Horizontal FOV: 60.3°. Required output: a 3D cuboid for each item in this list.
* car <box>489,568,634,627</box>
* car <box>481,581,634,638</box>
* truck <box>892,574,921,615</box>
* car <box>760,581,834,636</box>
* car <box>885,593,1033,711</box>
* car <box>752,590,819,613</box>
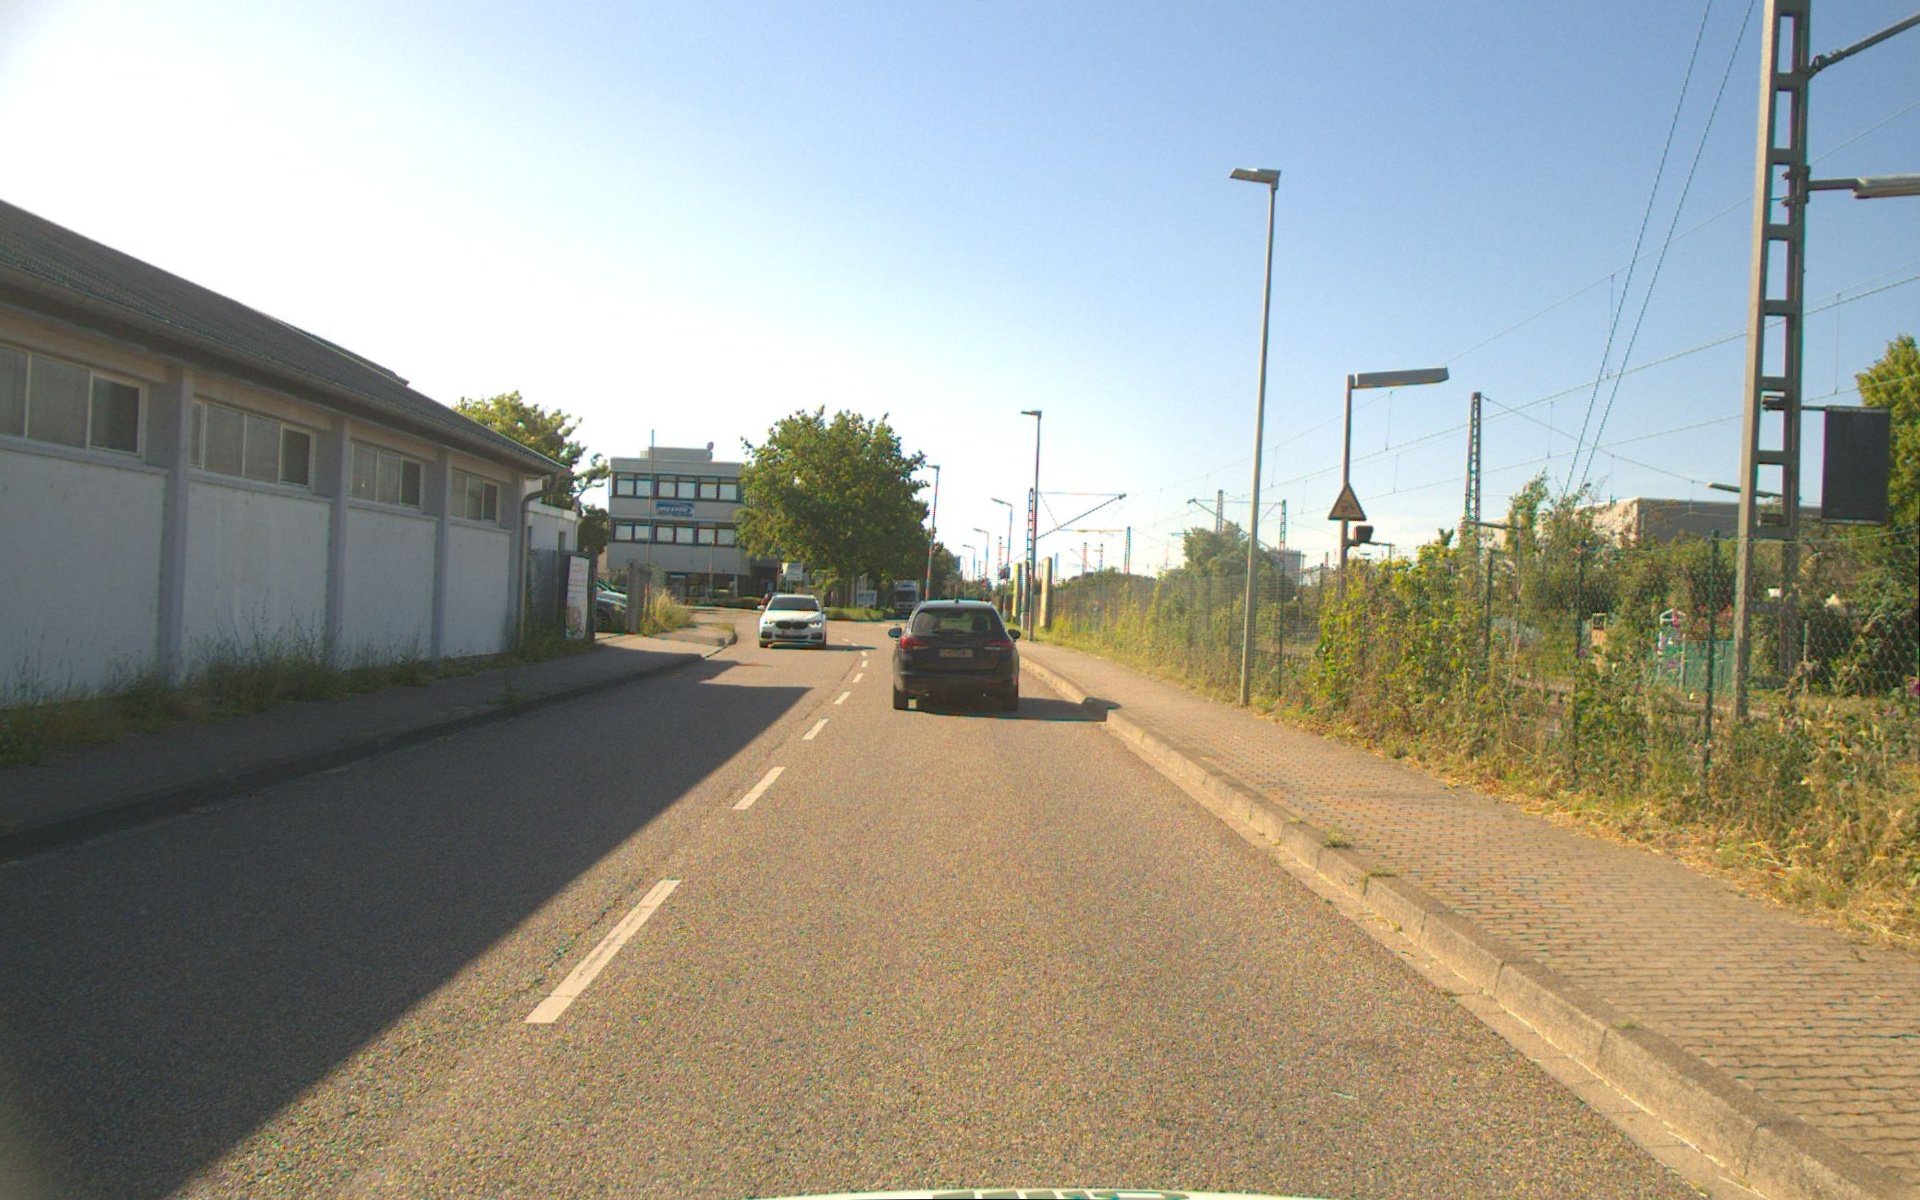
[{"bbox_3d":[-12.467,-0.091,51.991,4.311,1.677,1.835,2,0,-11],"label":"car"},{"bbox_3d":[-11.979,0.268,49.505,4.311,1.533,1.835,2,0,-11],"label":"car"},{"bbox_3d":[-5.571,-0.546,170.238,2.561,3.953,13.524,3,0,-3],"label":"truck"},{"bbox_3d":[-4.643,0.224,47.699,1.772,1.504,4.686,0,0,-2],"label":"car"},{"bbox_3d":[-0.061,0.685,23.798,1.903,1.515,4.564,1,0,-1],"label":"car"},{"bbox_3d":[-13.233,0.106,125.582,4.808,1.510,2.001,2,1,3],"label":"car"}]
